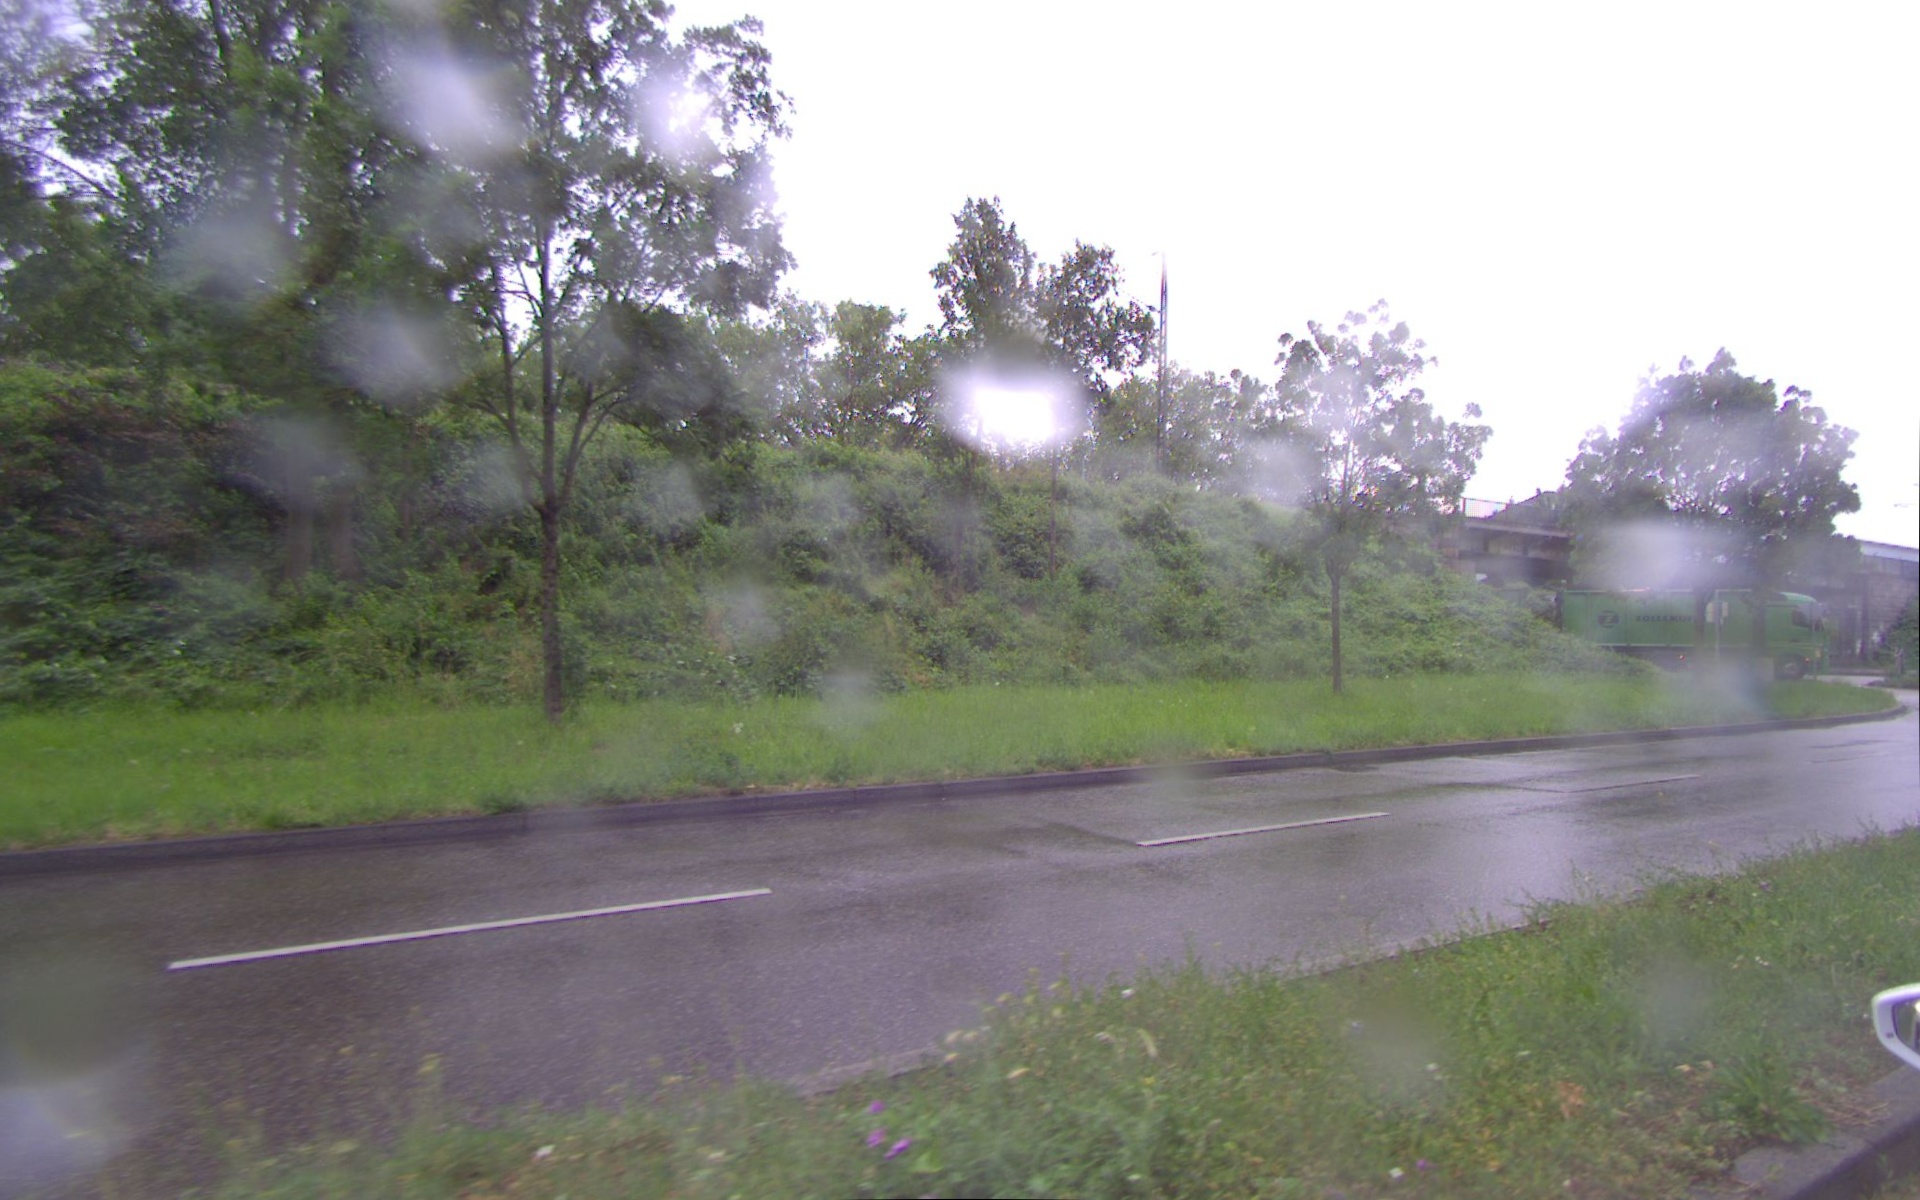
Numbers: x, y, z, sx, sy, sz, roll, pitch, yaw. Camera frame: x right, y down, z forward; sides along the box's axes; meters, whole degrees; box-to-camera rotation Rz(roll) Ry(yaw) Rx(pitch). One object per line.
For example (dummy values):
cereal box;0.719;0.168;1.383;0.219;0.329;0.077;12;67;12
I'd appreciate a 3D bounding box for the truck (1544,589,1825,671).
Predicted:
truck;31.971;1.256;44.928;9.872;3.416;2.346;0;-1;25
